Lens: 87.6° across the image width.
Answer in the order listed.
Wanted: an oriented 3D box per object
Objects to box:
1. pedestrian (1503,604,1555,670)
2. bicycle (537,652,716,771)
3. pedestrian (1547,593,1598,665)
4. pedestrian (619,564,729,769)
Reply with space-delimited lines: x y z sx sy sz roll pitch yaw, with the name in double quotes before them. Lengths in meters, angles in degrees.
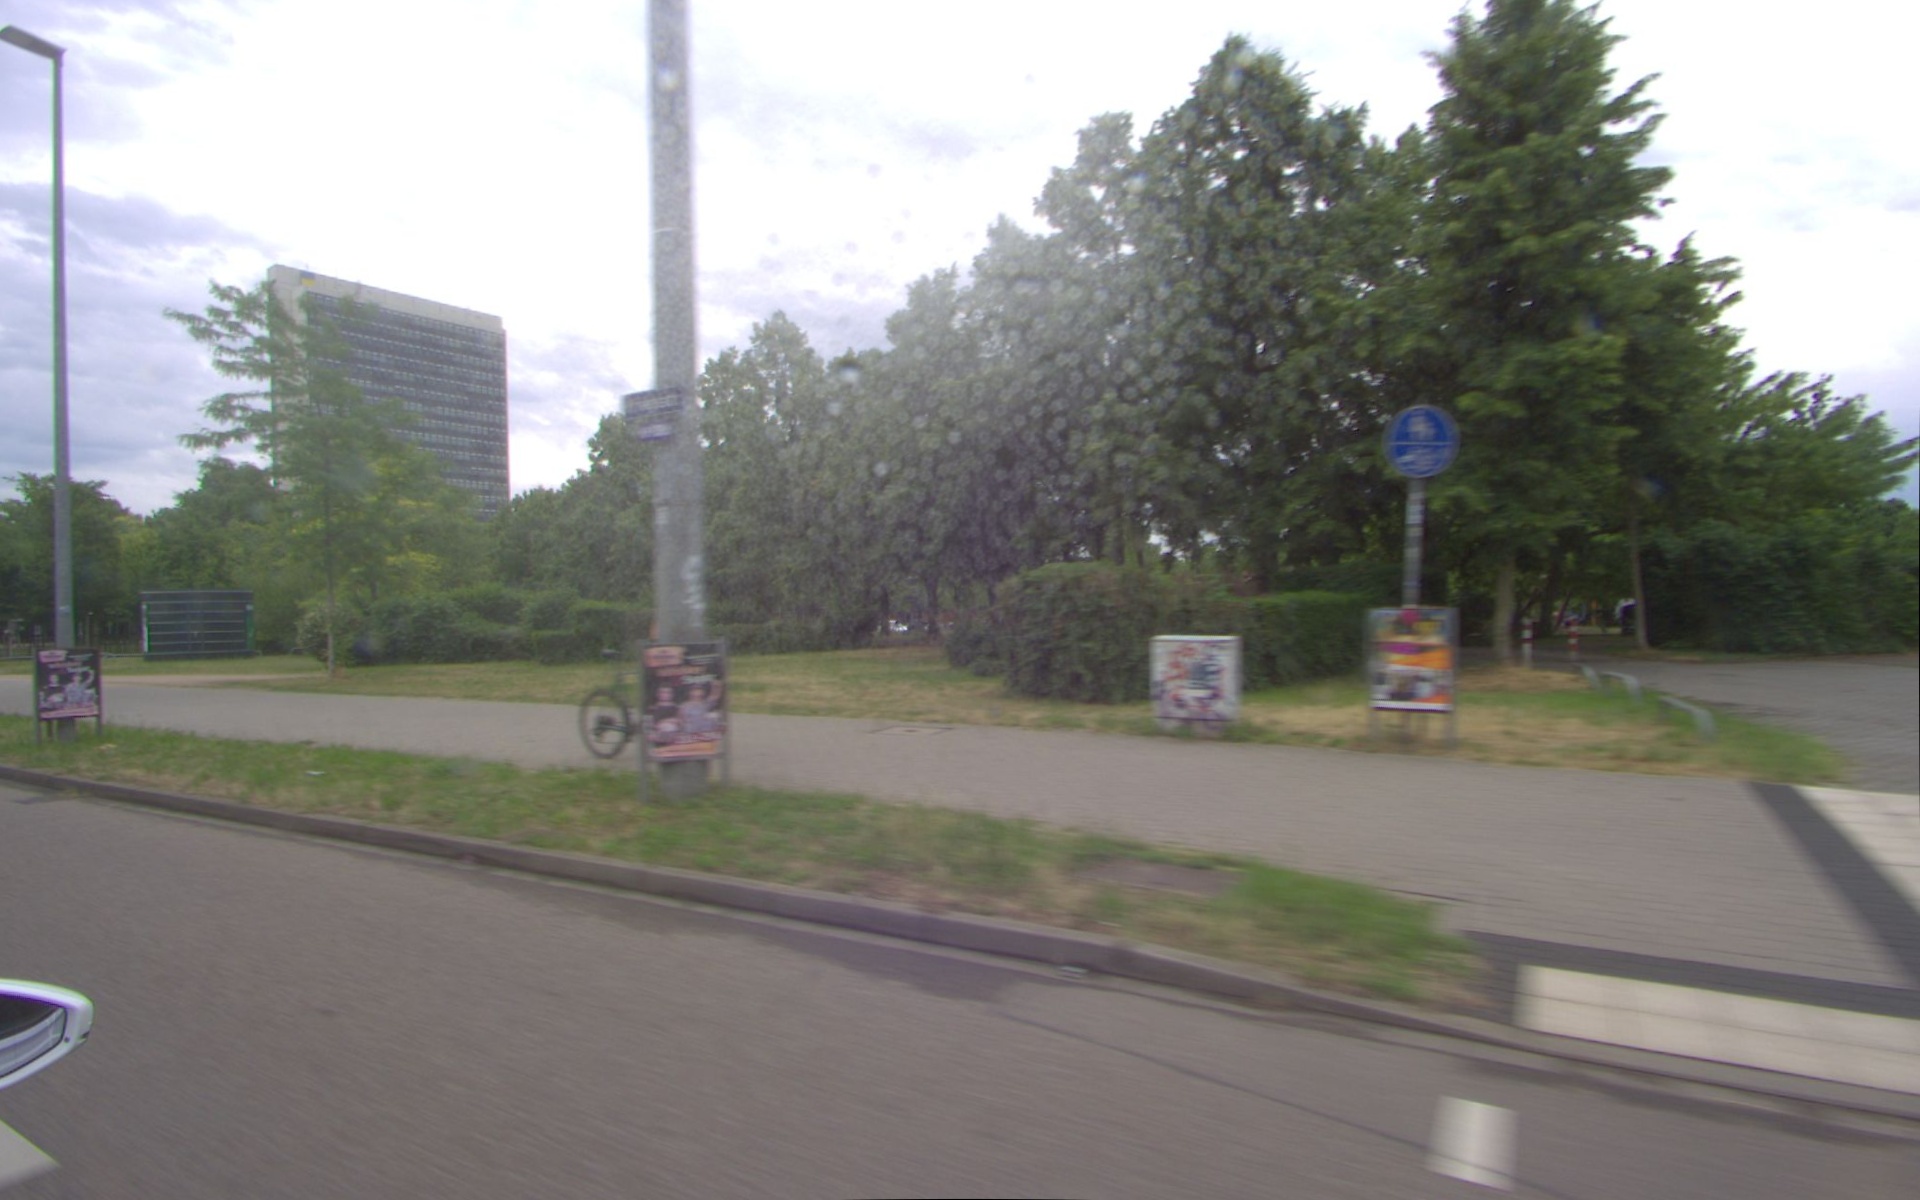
"pedestrian" 10.609 0.675 18.681 0.581 1.199 0.626 -1 0 -10
"bicycle" -3.229 1.028 9.645 1.753 1.016 0.653 -1 0 32
"pedestrian" 12.020 0.558 19.650 0.581 1.375 0.626 -1 1 -10
"pedestrian" -2.763 0.619 9.702 0.672 1.894 0.738 -1 1 31
